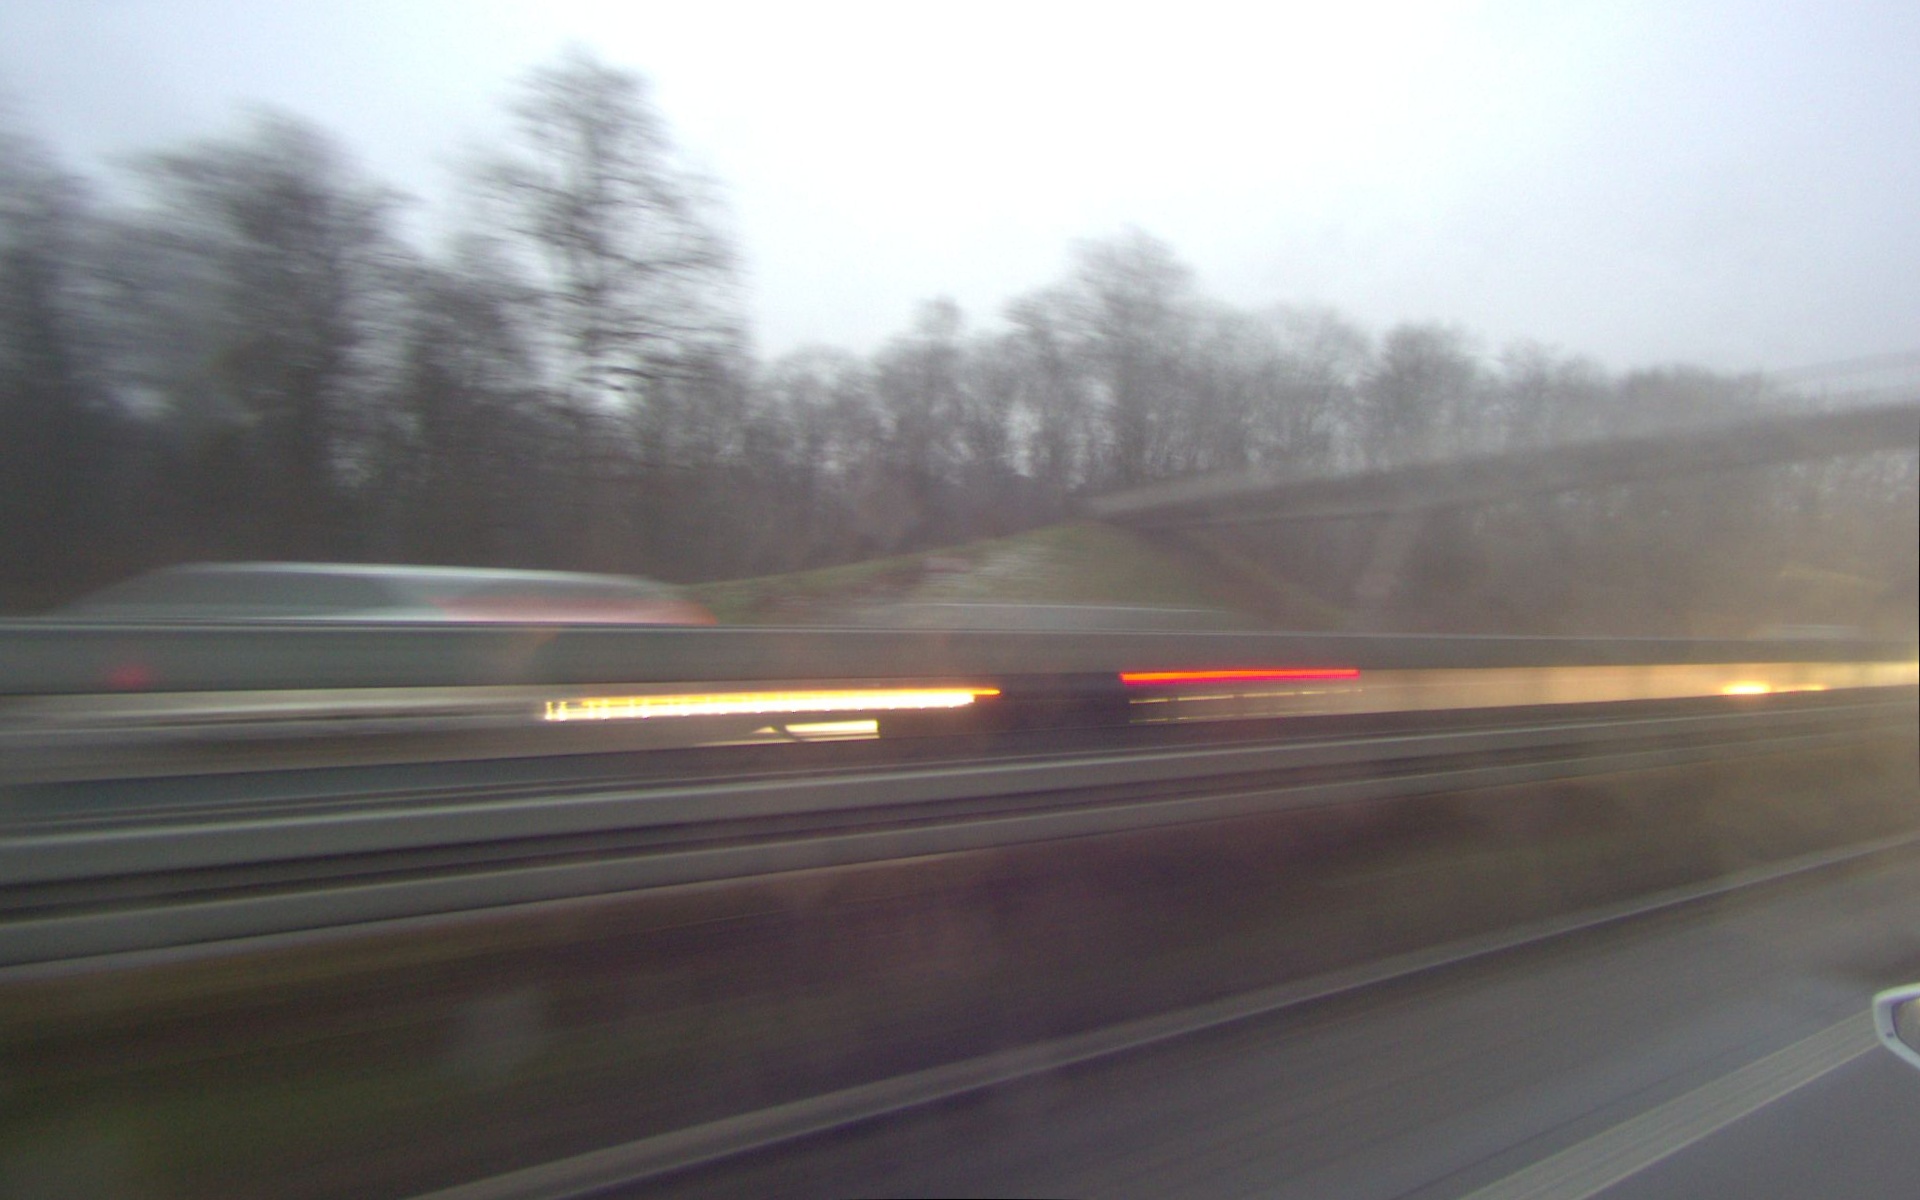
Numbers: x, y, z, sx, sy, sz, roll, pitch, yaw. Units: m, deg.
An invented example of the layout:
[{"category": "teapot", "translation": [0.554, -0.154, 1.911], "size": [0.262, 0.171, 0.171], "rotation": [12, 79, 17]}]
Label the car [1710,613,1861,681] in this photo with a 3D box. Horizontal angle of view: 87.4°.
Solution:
[{"category": "car", "translation": [21.681, 1.214, 26.370], "size": [3.952, 1.628, 1.772], "rotation": [2, 0, -30]}]

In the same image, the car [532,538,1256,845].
[{"category": "car", "translation": [-0.366, 0.539, 7.854], "size": [5.301, 1.739, 1.984], "rotation": [1, 1, -29]}]

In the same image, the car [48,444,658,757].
[{"category": "car", "translation": [-5.567, 0.064, 9.871], "size": [4.622, 2.444, 1.984], "rotation": [2, 0, -30]}]
